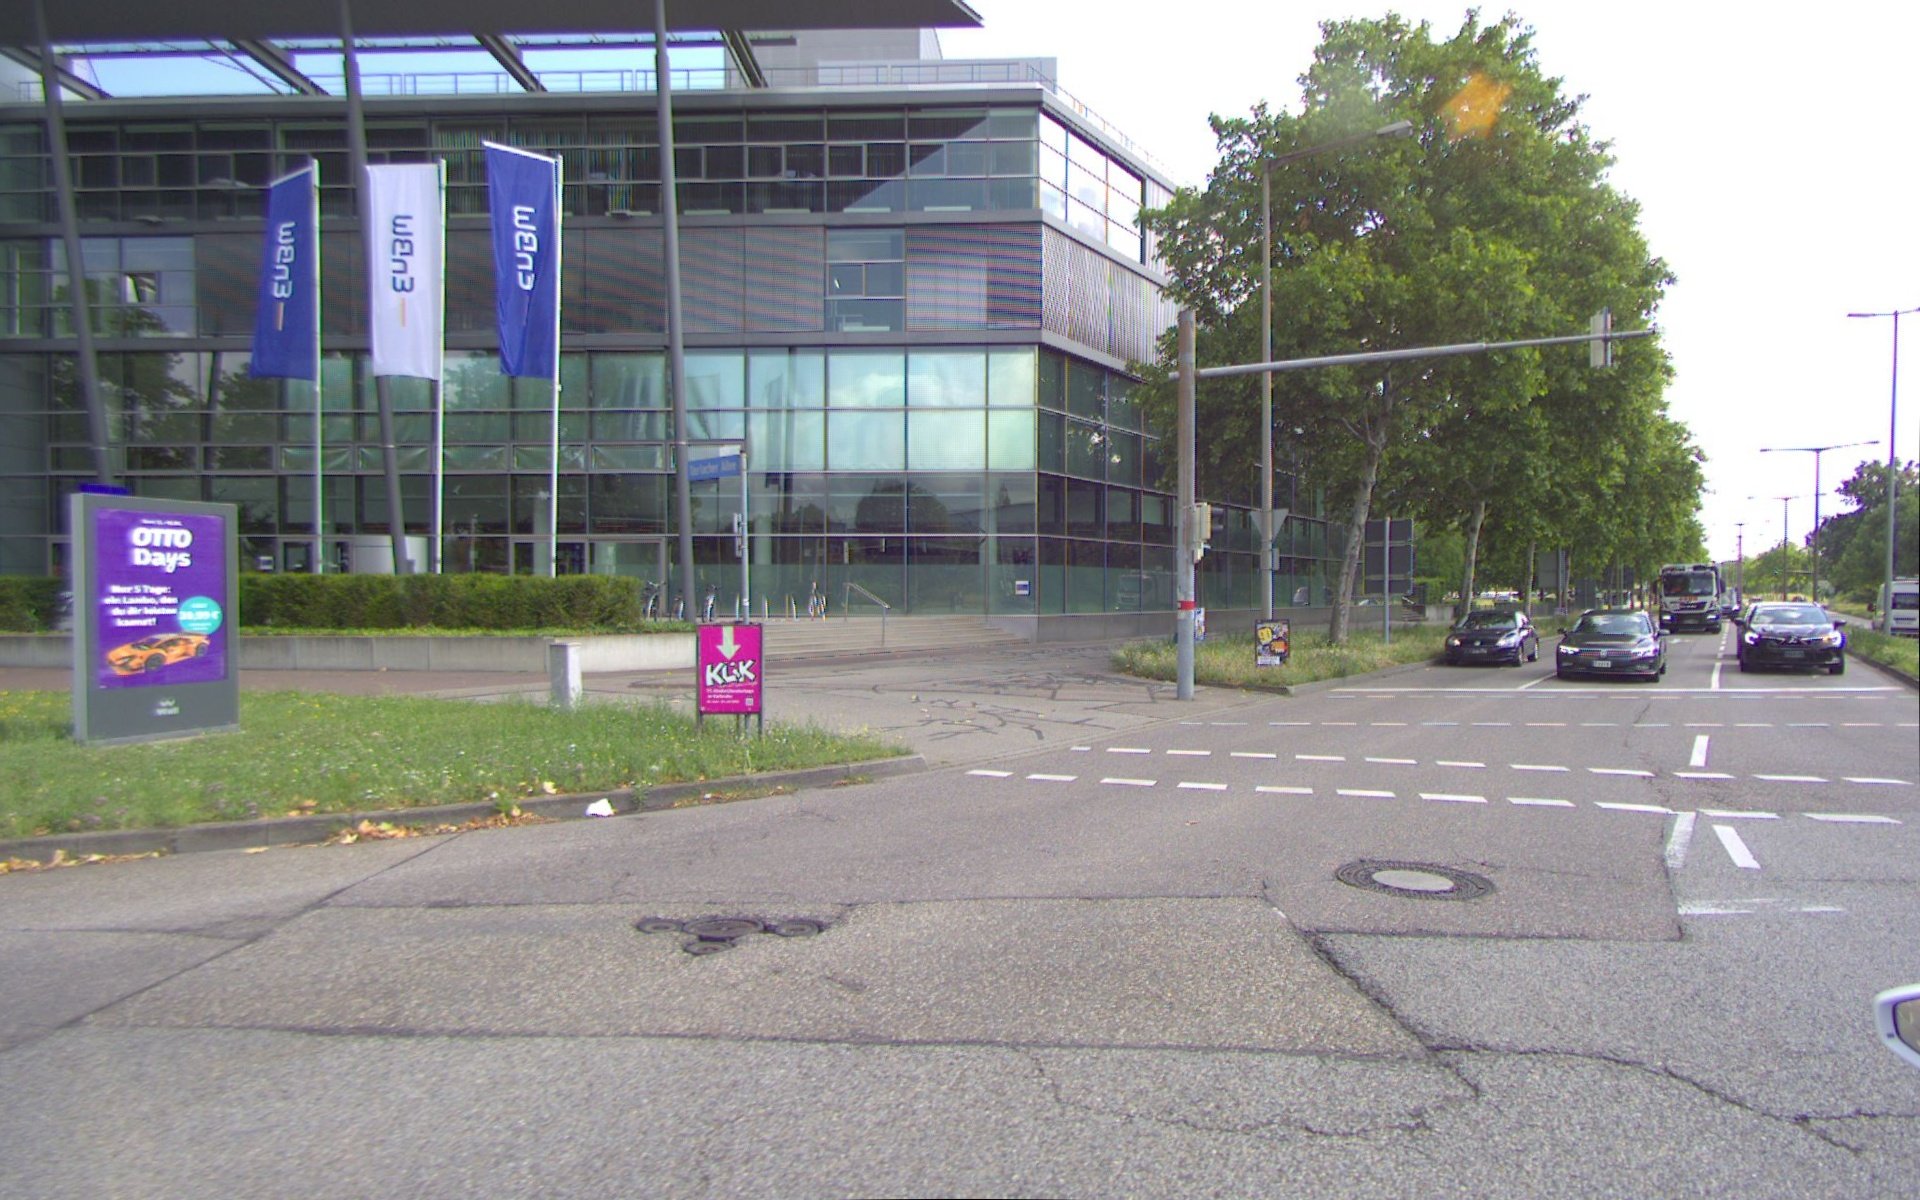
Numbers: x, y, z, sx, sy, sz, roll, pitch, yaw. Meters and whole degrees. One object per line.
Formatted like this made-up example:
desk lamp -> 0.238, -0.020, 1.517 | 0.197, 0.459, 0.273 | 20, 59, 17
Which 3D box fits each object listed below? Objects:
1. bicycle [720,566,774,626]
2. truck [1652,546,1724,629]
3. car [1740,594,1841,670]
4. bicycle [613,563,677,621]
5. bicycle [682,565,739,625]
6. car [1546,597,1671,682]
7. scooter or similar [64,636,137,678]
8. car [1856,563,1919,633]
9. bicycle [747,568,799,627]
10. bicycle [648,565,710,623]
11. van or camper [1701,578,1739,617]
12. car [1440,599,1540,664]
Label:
bicycle -> -5.900, -0.075, 27.952 | 0.677, 1.459, 2.182 | 2, -4, 9
truck -> 38.039, -0.629, 52.319 | 2.617, 3.940, 10.115 | 0, 1, 38
car -> 19.417, 0.679, 23.570 | 1.687, 1.608, 4.342 | -1, 0, 39
bicycle -> -8.700, -0.188, 27.874 | 0.727, 1.401, 2.142 | 2, -4, 10
bicycle -> -6.942, -0.120, 28.030 | 0.677, 1.459, 2.182 | 2, -4, 9
car -> 14.372, 0.773, 22.137 | 1.842, 1.595, 4.547 | 0, 1, 39
scooter or similar -> -16.102, 1.070, 18.818 | 1.205, 0.722, 0.241 | 2, -4, 7
car -> 39.169, -0.132, 41.809 | 2.168, 2.763, 4.915 | 0, 2, 35
bicycle -> -5.170, -0.037, 27.977 | 0.677, 1.459, 2.182 | 2, -4, 9
bicycle -> -7.769, -0.144, 27.879 | 0.727, 1.401, 2.142 | 2, -4, 10
van or camper -> 59.038, -0.144, 78.116 | 2.077, 2.694, 6.696 | -3, -3, 35
car -> 14.218, 0.896, 26.870 | 1.708, 1.592, 3.985 | -1, -4, 38
